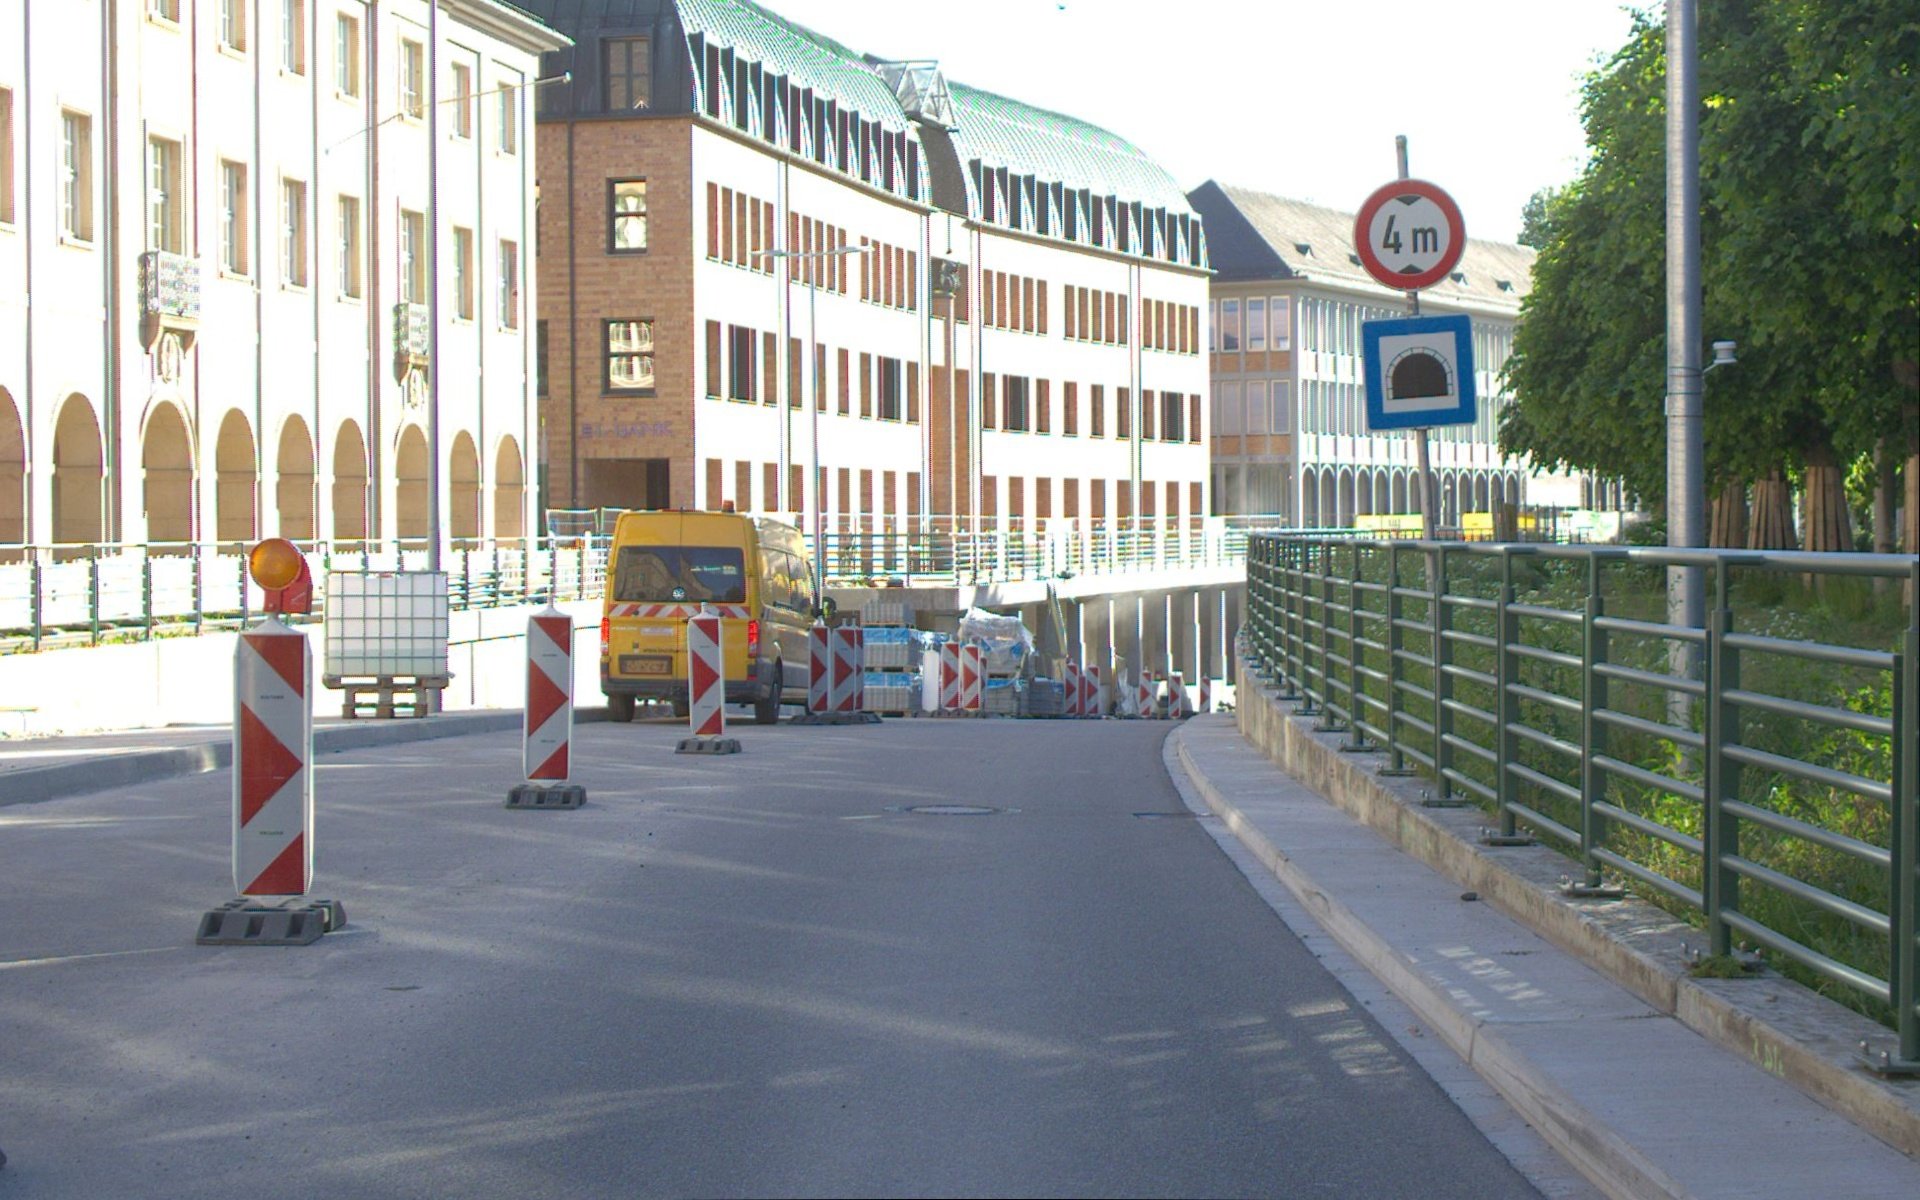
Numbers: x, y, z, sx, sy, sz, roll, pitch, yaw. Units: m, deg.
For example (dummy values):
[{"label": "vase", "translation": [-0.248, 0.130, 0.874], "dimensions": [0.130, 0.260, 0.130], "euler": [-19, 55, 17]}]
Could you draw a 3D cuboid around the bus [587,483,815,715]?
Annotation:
[{"label": "bus", "translation": [-3.104, 0.023, 42.203], "dimensions": [2.073, 2.677, 4.682], "euler": [0, -1, 5]}]
